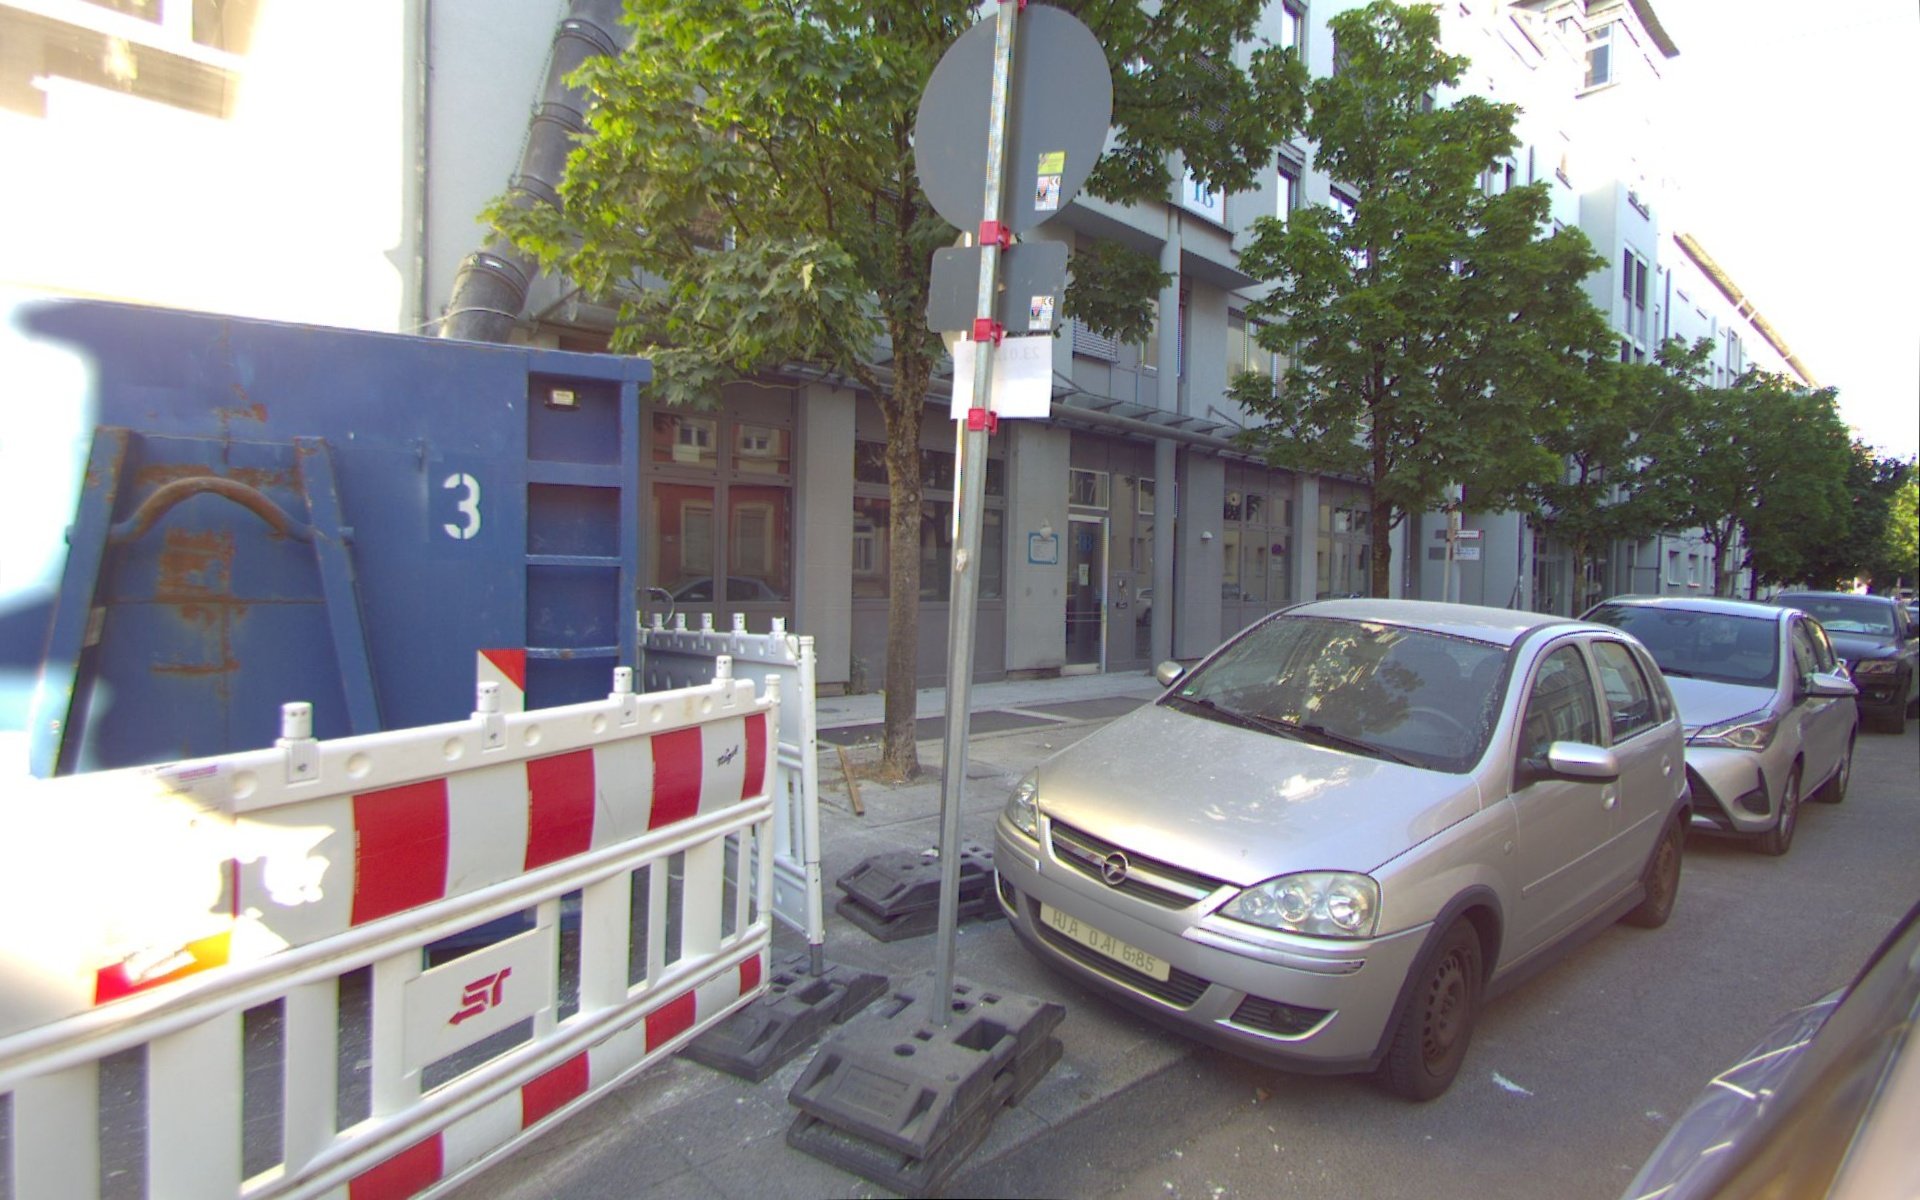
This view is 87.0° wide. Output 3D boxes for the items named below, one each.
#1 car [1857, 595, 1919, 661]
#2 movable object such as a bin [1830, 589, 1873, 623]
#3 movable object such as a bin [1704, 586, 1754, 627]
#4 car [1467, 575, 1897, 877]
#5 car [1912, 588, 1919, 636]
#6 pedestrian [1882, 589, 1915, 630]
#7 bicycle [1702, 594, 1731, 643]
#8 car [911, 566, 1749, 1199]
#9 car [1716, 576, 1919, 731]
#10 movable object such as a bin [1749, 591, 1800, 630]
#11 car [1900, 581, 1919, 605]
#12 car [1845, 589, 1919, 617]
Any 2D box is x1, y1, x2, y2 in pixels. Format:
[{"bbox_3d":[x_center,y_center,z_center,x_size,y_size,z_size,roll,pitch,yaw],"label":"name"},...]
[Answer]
[{"bbox_3d":[23.349,0.654,24.680,4.272,1.446,1.766,0,3,-43],"label":"car"},{"bbox_3d":[40.523,0.270,45.997,1.203,1.454,1.286,0,3,-43],"label":"movable object such as a bin"},{"bbox_3d":[28.598,0.236,37.637,1.120,1.454,1.263,0,3,-43],"label":"movable object such as a bin"},{"bbox_3d":[5.360,0.652,7.316,3.902,1.543,1.679,0,3,-42],"label":"car"},{"bbox_3d":[35.172,0.438,35.871,1.873,1.655,4.646,4,3,45],"label":"car"},{"bbox_3d":[34.959,0.351,37.719,0.799,1.481,0.857,4,3,42],"label":"pedestrian"},{"bbox_3d":[19.624,0.460,26.267,0.518,1.182,1.718,4,3,36],"label":"bicycle"},{"bbox_3d":[1.771,0.669,4.247,3.664,1.493,1.680,0,3,-41],"label":"car"},{"bbox_3d":[11.690,0.574,13.420,4.360,1.642,1.888,0,3,-43],"label":"car"},{"bbox_3d":[29.653,0.356,36.845,1.120,1.337,1.263,0,3,-43],"label":"movable object such as a bin"},{"bbox_3d":[96.990,-0.713,101.996,2.147,2.311,6.135,4,3,33],"label":"car"},{"bbox_3d":[60.235,0.198,65.751,1.968,1.584,3.991,0,3,-45],"label":"car"}]
